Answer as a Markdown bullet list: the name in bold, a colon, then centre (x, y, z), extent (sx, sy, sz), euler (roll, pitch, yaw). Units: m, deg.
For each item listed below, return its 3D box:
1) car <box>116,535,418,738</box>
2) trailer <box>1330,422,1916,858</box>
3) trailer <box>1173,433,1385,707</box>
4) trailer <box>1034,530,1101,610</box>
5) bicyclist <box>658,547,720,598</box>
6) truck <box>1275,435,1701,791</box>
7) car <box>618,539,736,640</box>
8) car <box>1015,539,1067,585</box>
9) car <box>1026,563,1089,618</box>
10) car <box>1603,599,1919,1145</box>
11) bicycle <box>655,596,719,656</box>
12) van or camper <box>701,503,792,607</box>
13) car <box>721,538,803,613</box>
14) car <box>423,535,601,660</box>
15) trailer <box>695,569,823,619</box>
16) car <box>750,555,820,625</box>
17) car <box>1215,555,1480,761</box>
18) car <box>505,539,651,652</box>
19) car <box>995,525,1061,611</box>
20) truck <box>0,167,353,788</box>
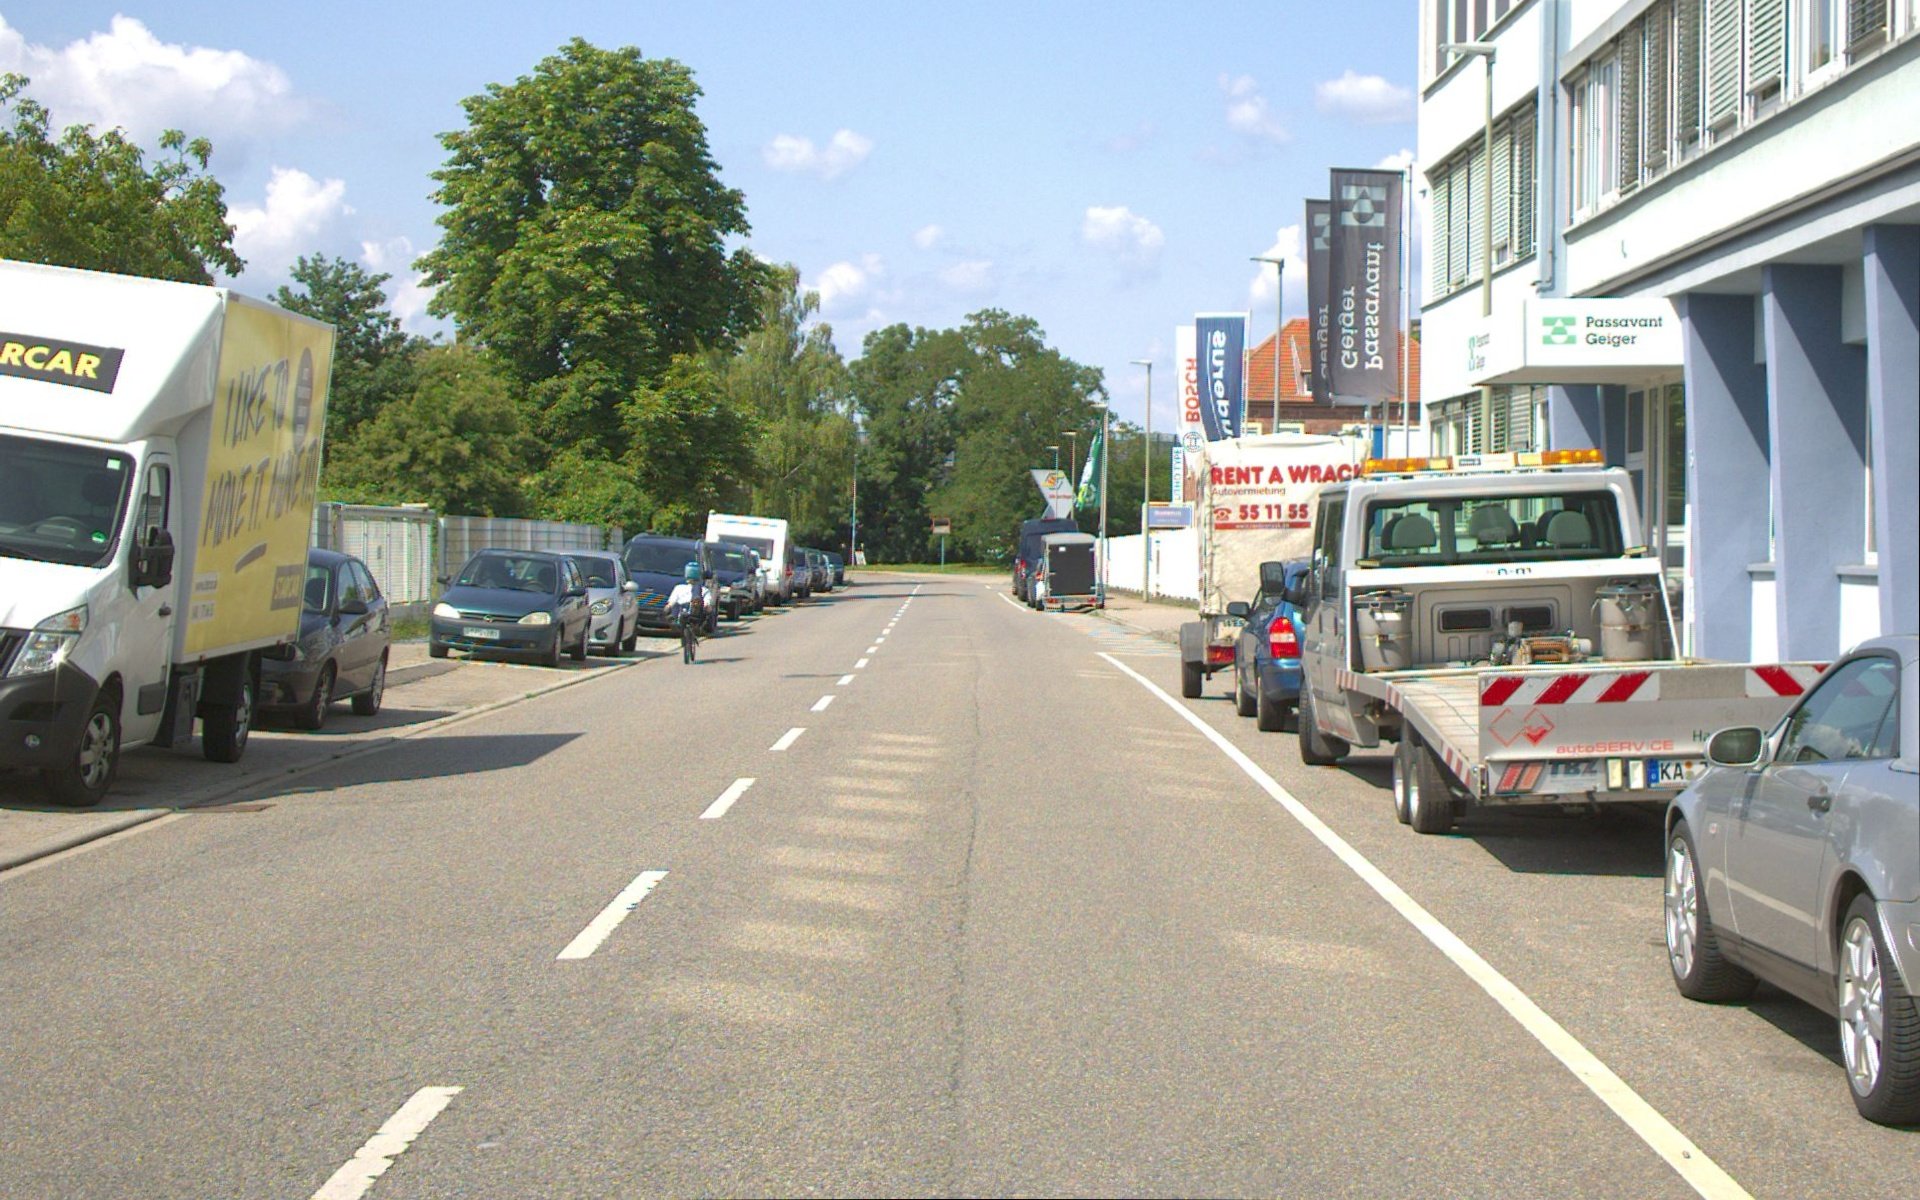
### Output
- **car**: centre (-5.800, 0.261, 29.191), extent (1.619, 1.425, 3.827), euler (7, 1, 0)
- **trailer**: centre (3.324, 0.134, 18.514), extent (1.973, 1.964, 5.766), euler (1, 1, 0)
- **trailer**: centre (3.148, -0.320, 34.796), extent (1.869, 2.544, 5.071), euler (1, 1, 3)
- **trailer**: centre (2.809, -0.788, 90.189), extent (1.601, 2.030, 2.741), euler (2, 1, -1)
- **bicyclist**: centre (-3.600, -0.372, 45.746), extent (0.566, 0.629, 1.857), euler (2, 1, 3)
- **truck**: centre (3.270, 0.037, 22.247), extent (1.964, 2.028, 4.734), euler (1, 1, 0)
- **car**: centre (-5.110, -0.221, 62.577), extent (1.801, 1.744, 4.713), euler (1, 1, -1)
- **car**: centre (2.980, -1.418, 126.861), extent (1.825, 1.659, 4.556), euler (0, 1, 0)
- **car**: centre (2.714, -0.279, 96.473), extent (1.572, 1.502, 4.133), euler (1, 1, -1)
- **car**: centre (3.145, 0.670, 10.281), extent (1.647, 1.242, 4.000), euler (1, 1, 0)
- **bicycle**: centre (-3.623, 0.343, 45.763), extent (0.587, 0.739, 2.125), euler (1, 1, 2)
- **van or camper**: centre (-6.232, -1.311, 101.125), extent (2.262, 2.794, 6.834), euler (4, 0, -2)
- **car**: centre (-4.915, -0.624, 85.896), extent (1.827, 1.787, 4.736), euler (1, 1, -1)
- **car**: centre (-5.742, -0.065, 44.389), extent (1.569, 1.394, 3.798), euler (6, 1, 2)
- **trailer**: centre (-4.452, -0.161, 77.235), extent (2.271, 0.880, 7.132), euler (5, 1, 1)
- **car**: centre (-4.701, -0.297, 92.192), extent (1.683, 1.686, 4.445), euler (5, 0, -3)
- **car**: centre (3.155, 0.432, 28.741), extent (1.718, 1.537, 4.403), euler (2, 0, 1)
- **car**: centre (-5.442, -0.098, 49.358), extent (1.615, 1.478, 3.710), euler (3, 1, 0)
- **car**: centre (2.240, -1.080, 114.388), extent (1.937, 2.739, 6.155), euler (1, 1, -1)
- **truck**: centre (-5.777, -0.761, 22.325), extent (2.250, 3.350, 6.907), euler (5, 0, -1)
